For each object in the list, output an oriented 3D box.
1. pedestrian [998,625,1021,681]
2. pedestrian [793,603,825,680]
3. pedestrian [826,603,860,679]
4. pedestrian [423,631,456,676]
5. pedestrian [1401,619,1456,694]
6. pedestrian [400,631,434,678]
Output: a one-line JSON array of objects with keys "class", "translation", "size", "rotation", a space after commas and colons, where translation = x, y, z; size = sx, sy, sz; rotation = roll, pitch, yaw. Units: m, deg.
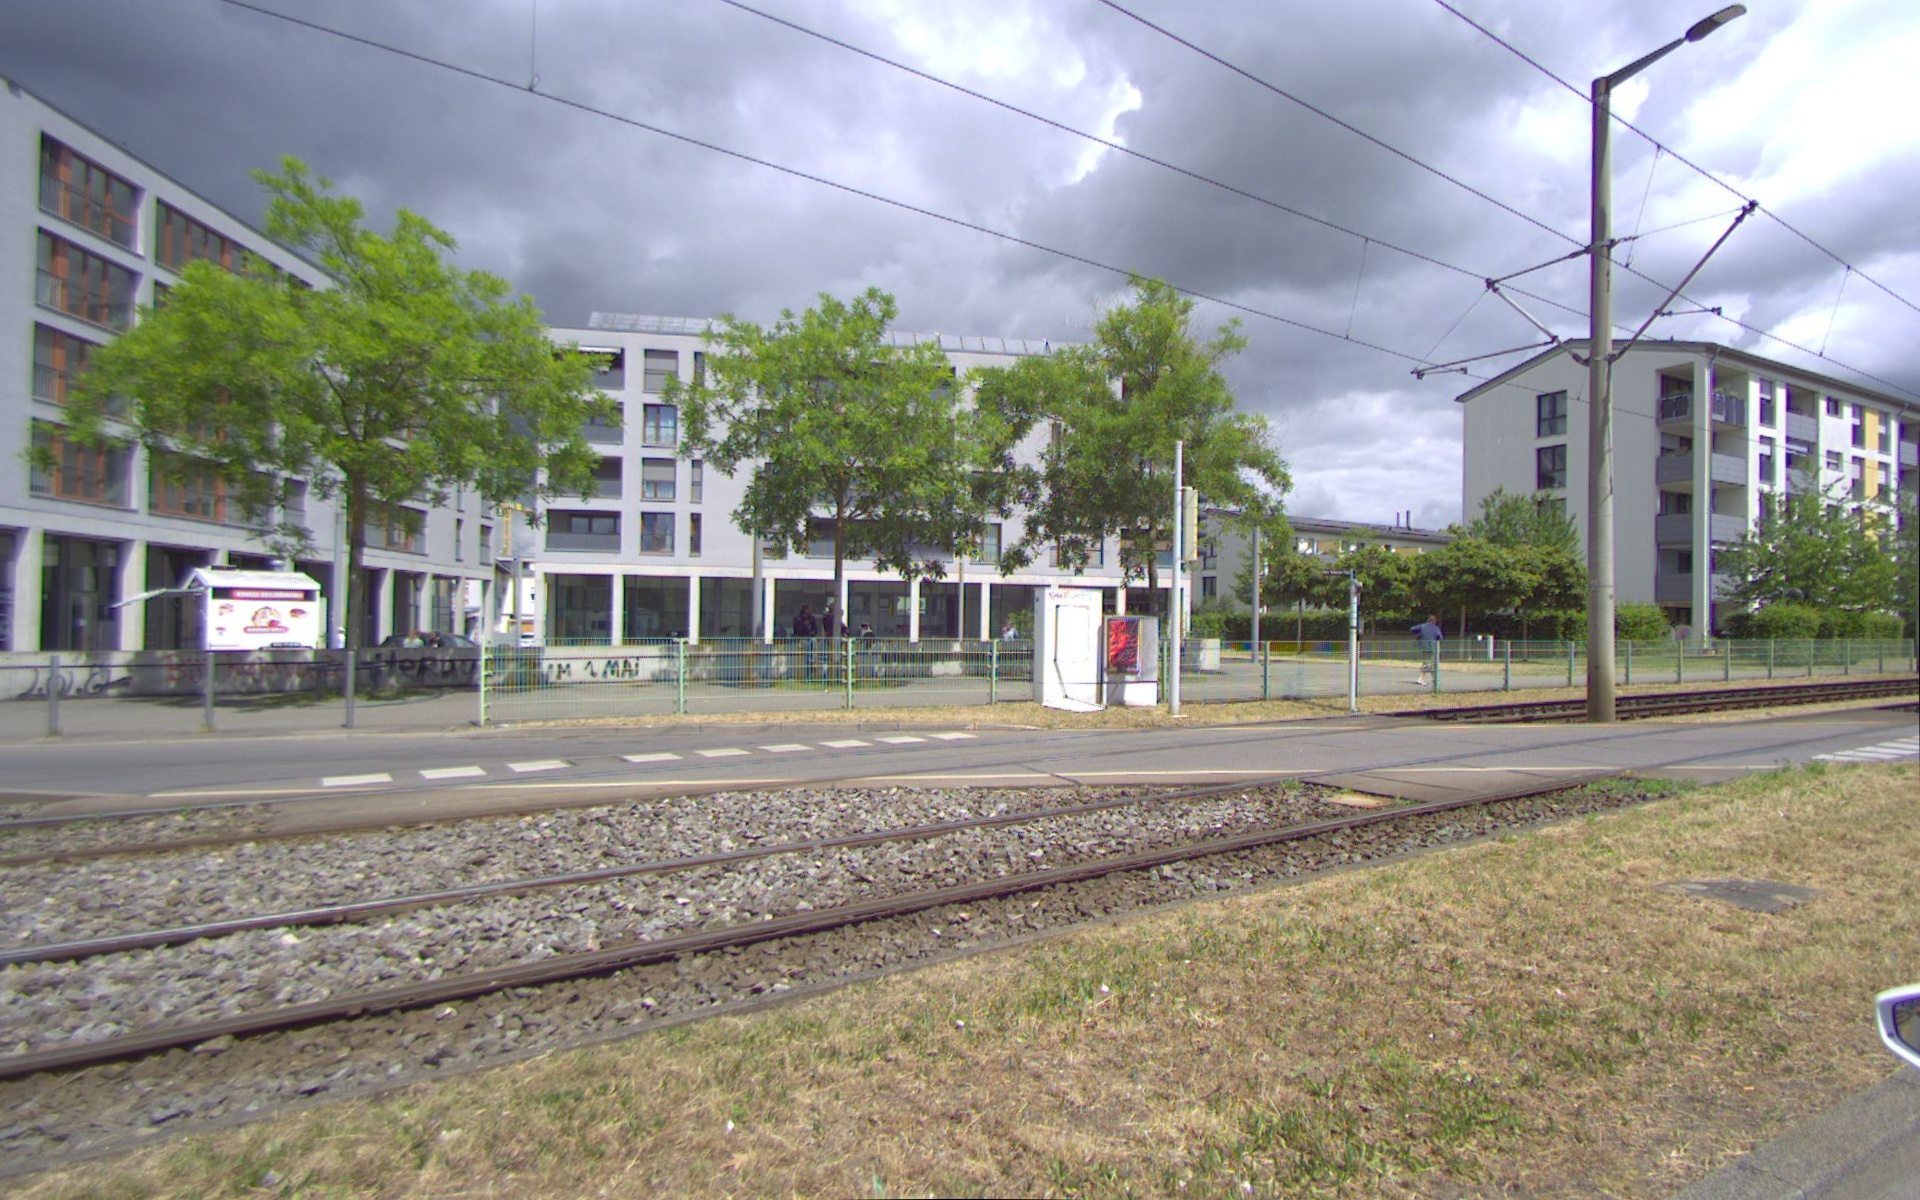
[{"class": "pedestrian", "translation": [1.388, 1.493, 28.378], "size": [0.519, 1.568, 0.545], "rotation": [-1, -1, -10]}, {"class": "pedestrian", "translation": [-3.169, 0.862, 21.039], "size": [0.549, 1.594, 0.622], "rotation": [0, -2, -19]}, {"class": "pedestrian", "translation": [-2.502, 0.874, 21.481], "size": [0.550, 1.594, 0.621], "rotation": [0, -2, -25]}, {"class": "pedestrian", "translation": [-12.906, 1.324, 24.901], "size": [0.567, 1.110, 0.500], "rotation": [0, -1, -5]}, {"class": "pedestrian", "translation": [10.880, 1.297, 23.336], "size": [0.858, 1.683, 0.747], "rotation": [0, -2, -27]}, {"class": "pedestrian", "translation": [-13.060, 1.316, 24.173], "size": [0.567, 1.110, 0.500], "rotation": [0, -1, -5]}]
